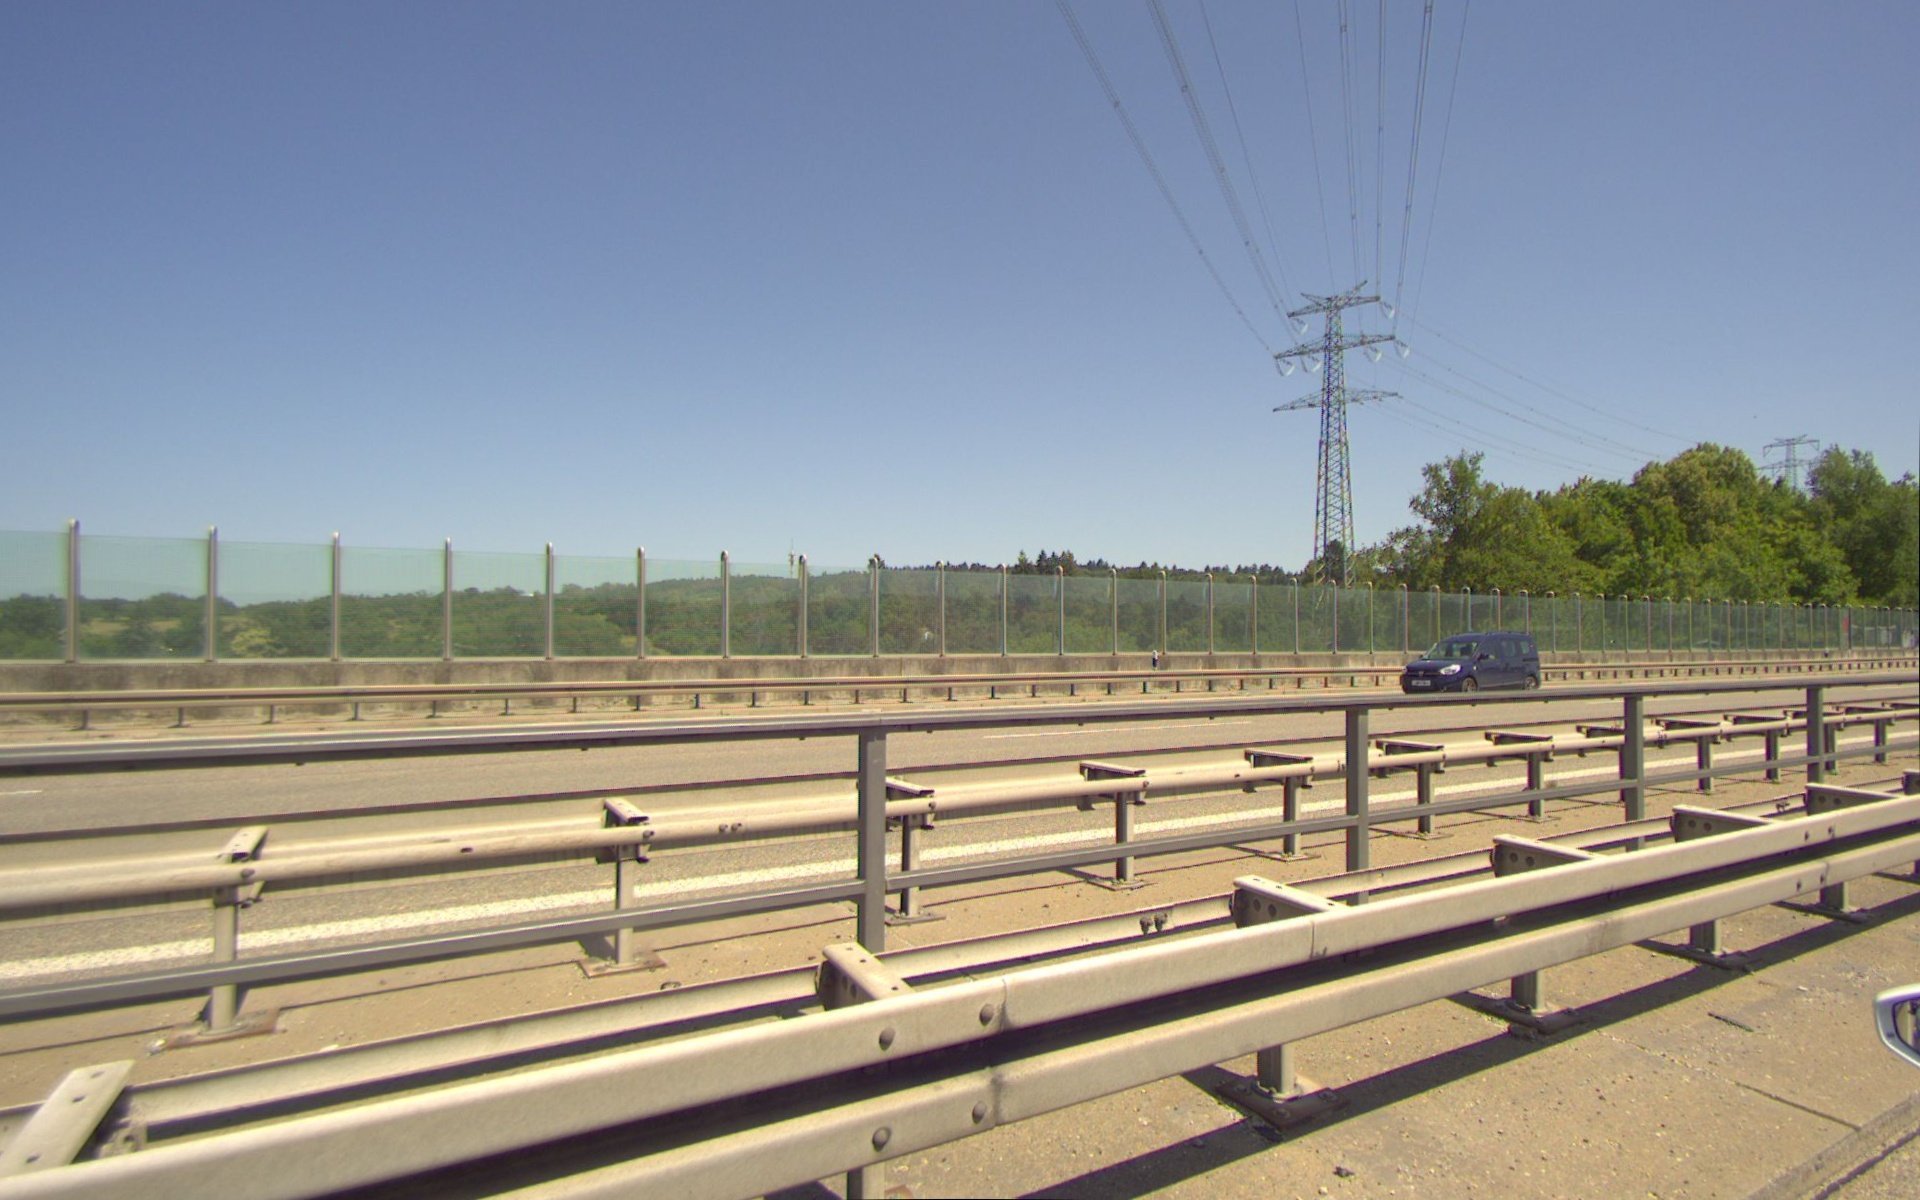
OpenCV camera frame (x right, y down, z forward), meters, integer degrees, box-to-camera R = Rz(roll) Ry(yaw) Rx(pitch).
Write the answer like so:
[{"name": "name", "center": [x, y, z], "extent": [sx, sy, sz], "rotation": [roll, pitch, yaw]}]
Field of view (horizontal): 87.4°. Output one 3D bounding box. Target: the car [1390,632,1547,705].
[{"name": "car", "center": [13.658, 1.783, 26.925], "extent": [4.252, 1.808, 1.774], "rotation": [2, -2, -31]}]
